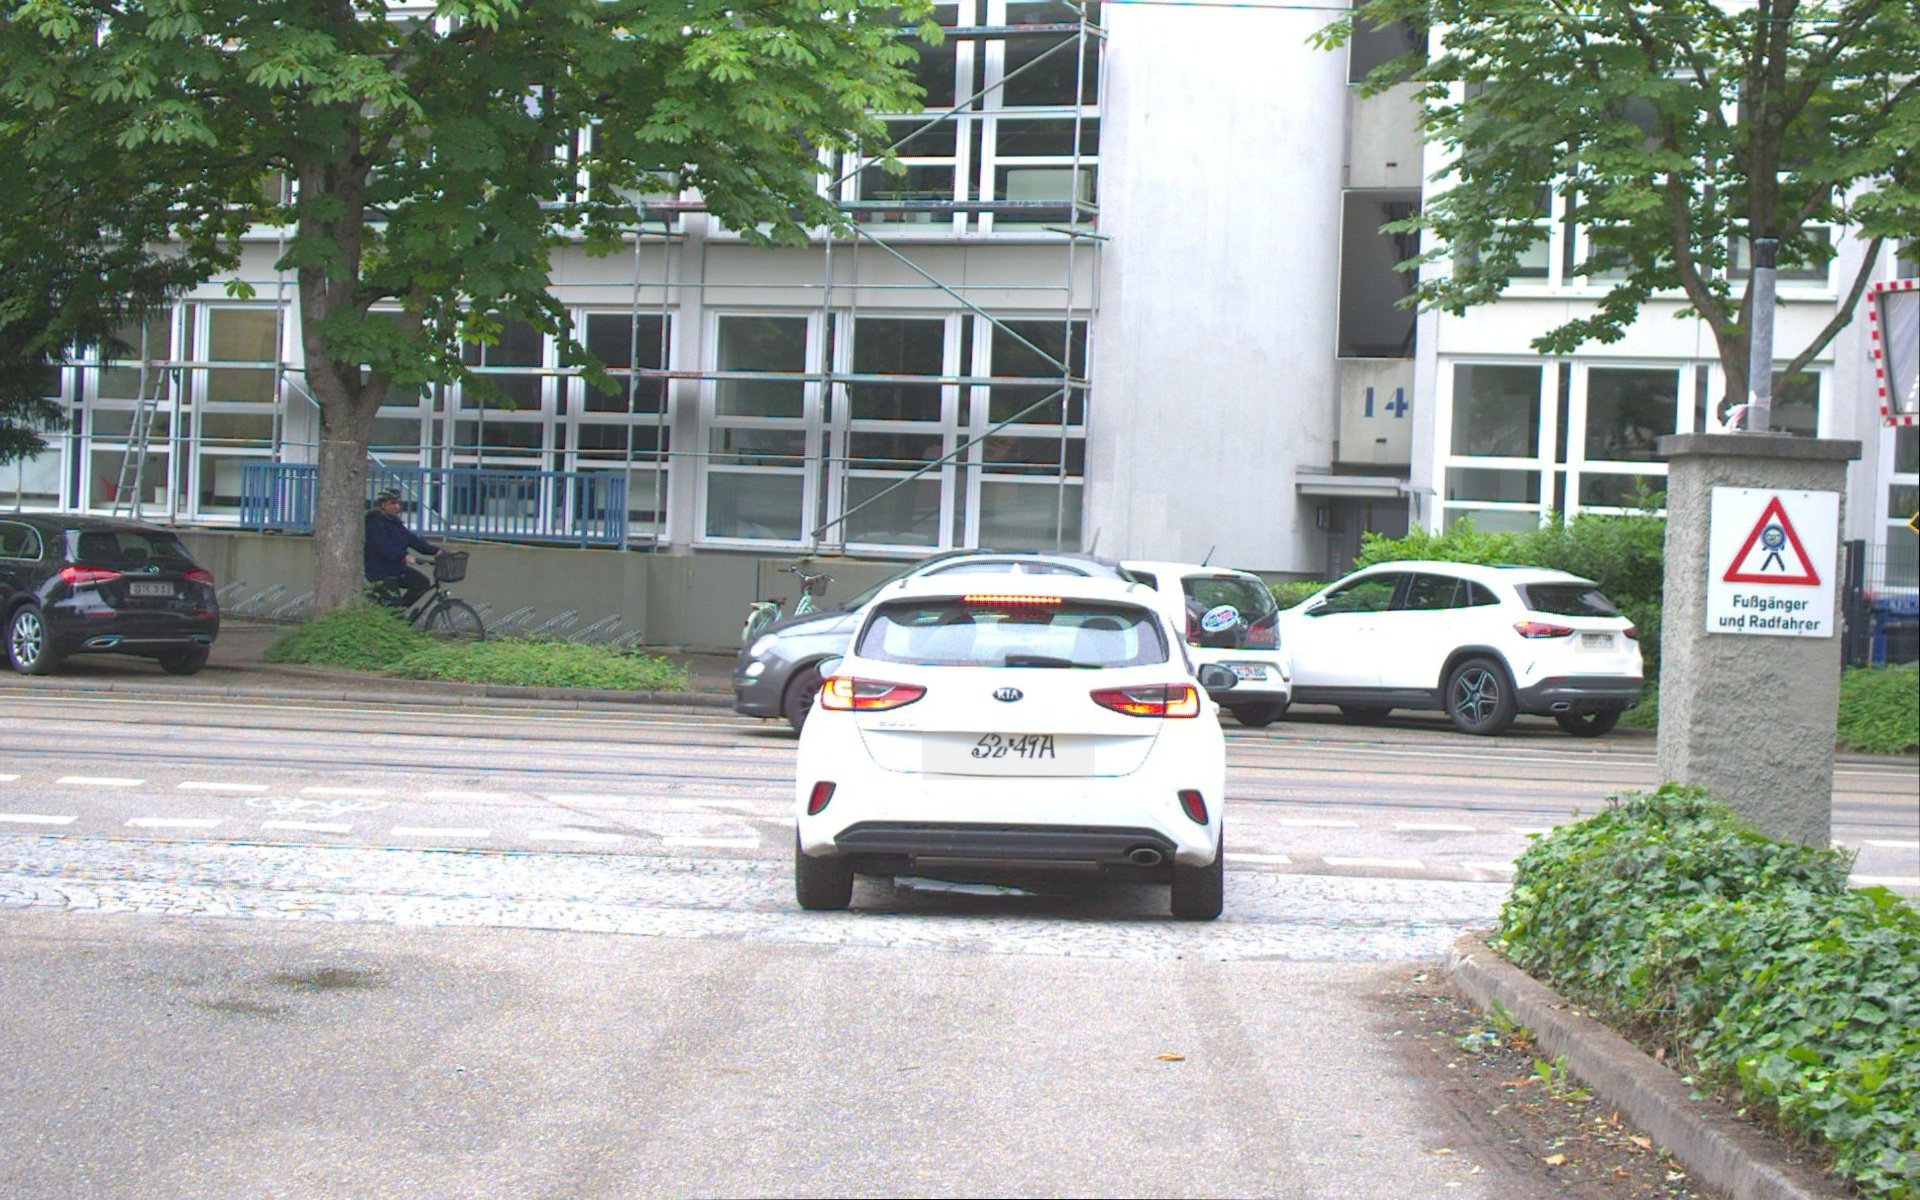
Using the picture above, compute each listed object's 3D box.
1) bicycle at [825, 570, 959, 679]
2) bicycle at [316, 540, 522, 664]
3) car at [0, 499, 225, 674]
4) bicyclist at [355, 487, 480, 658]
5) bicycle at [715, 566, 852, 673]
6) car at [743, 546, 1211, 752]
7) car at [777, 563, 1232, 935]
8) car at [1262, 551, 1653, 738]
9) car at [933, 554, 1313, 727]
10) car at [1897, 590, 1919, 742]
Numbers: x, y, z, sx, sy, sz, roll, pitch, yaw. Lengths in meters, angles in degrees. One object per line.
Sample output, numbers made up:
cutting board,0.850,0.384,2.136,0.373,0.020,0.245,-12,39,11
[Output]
bicycle,-0.737,0.255,38.039,0.645,1.071,2.310,3,3,21
bicycle,-5.523,0.017,35.089,1.912,1.170,0.820,3,1,26
car,-8.416,-0.154,31.631,3.335,1.506,1.614,2,1,44
bicyclist,-5.544,-0.283,35.136,0.895,1.692,0.833,3,1,25
bicycle,-1.960,0.202,38.576,0.645,1.071,2.310,3,3,21
car,0.100,0.350,26.136,3.419,1.415,1.521,2,1,-2
car,0.295,0.637,15.656,1.776,1.428,3.978,1,-1,4
car,4.664,0.390,32.516,1.552,1.612,3.406,1,1,-43
car,1.490,0.351,32.210,1.552,1.468,3.406,1,1,-43
car,11.204,0.705,32.894,3.951,1.468,1.669,2,1,41
